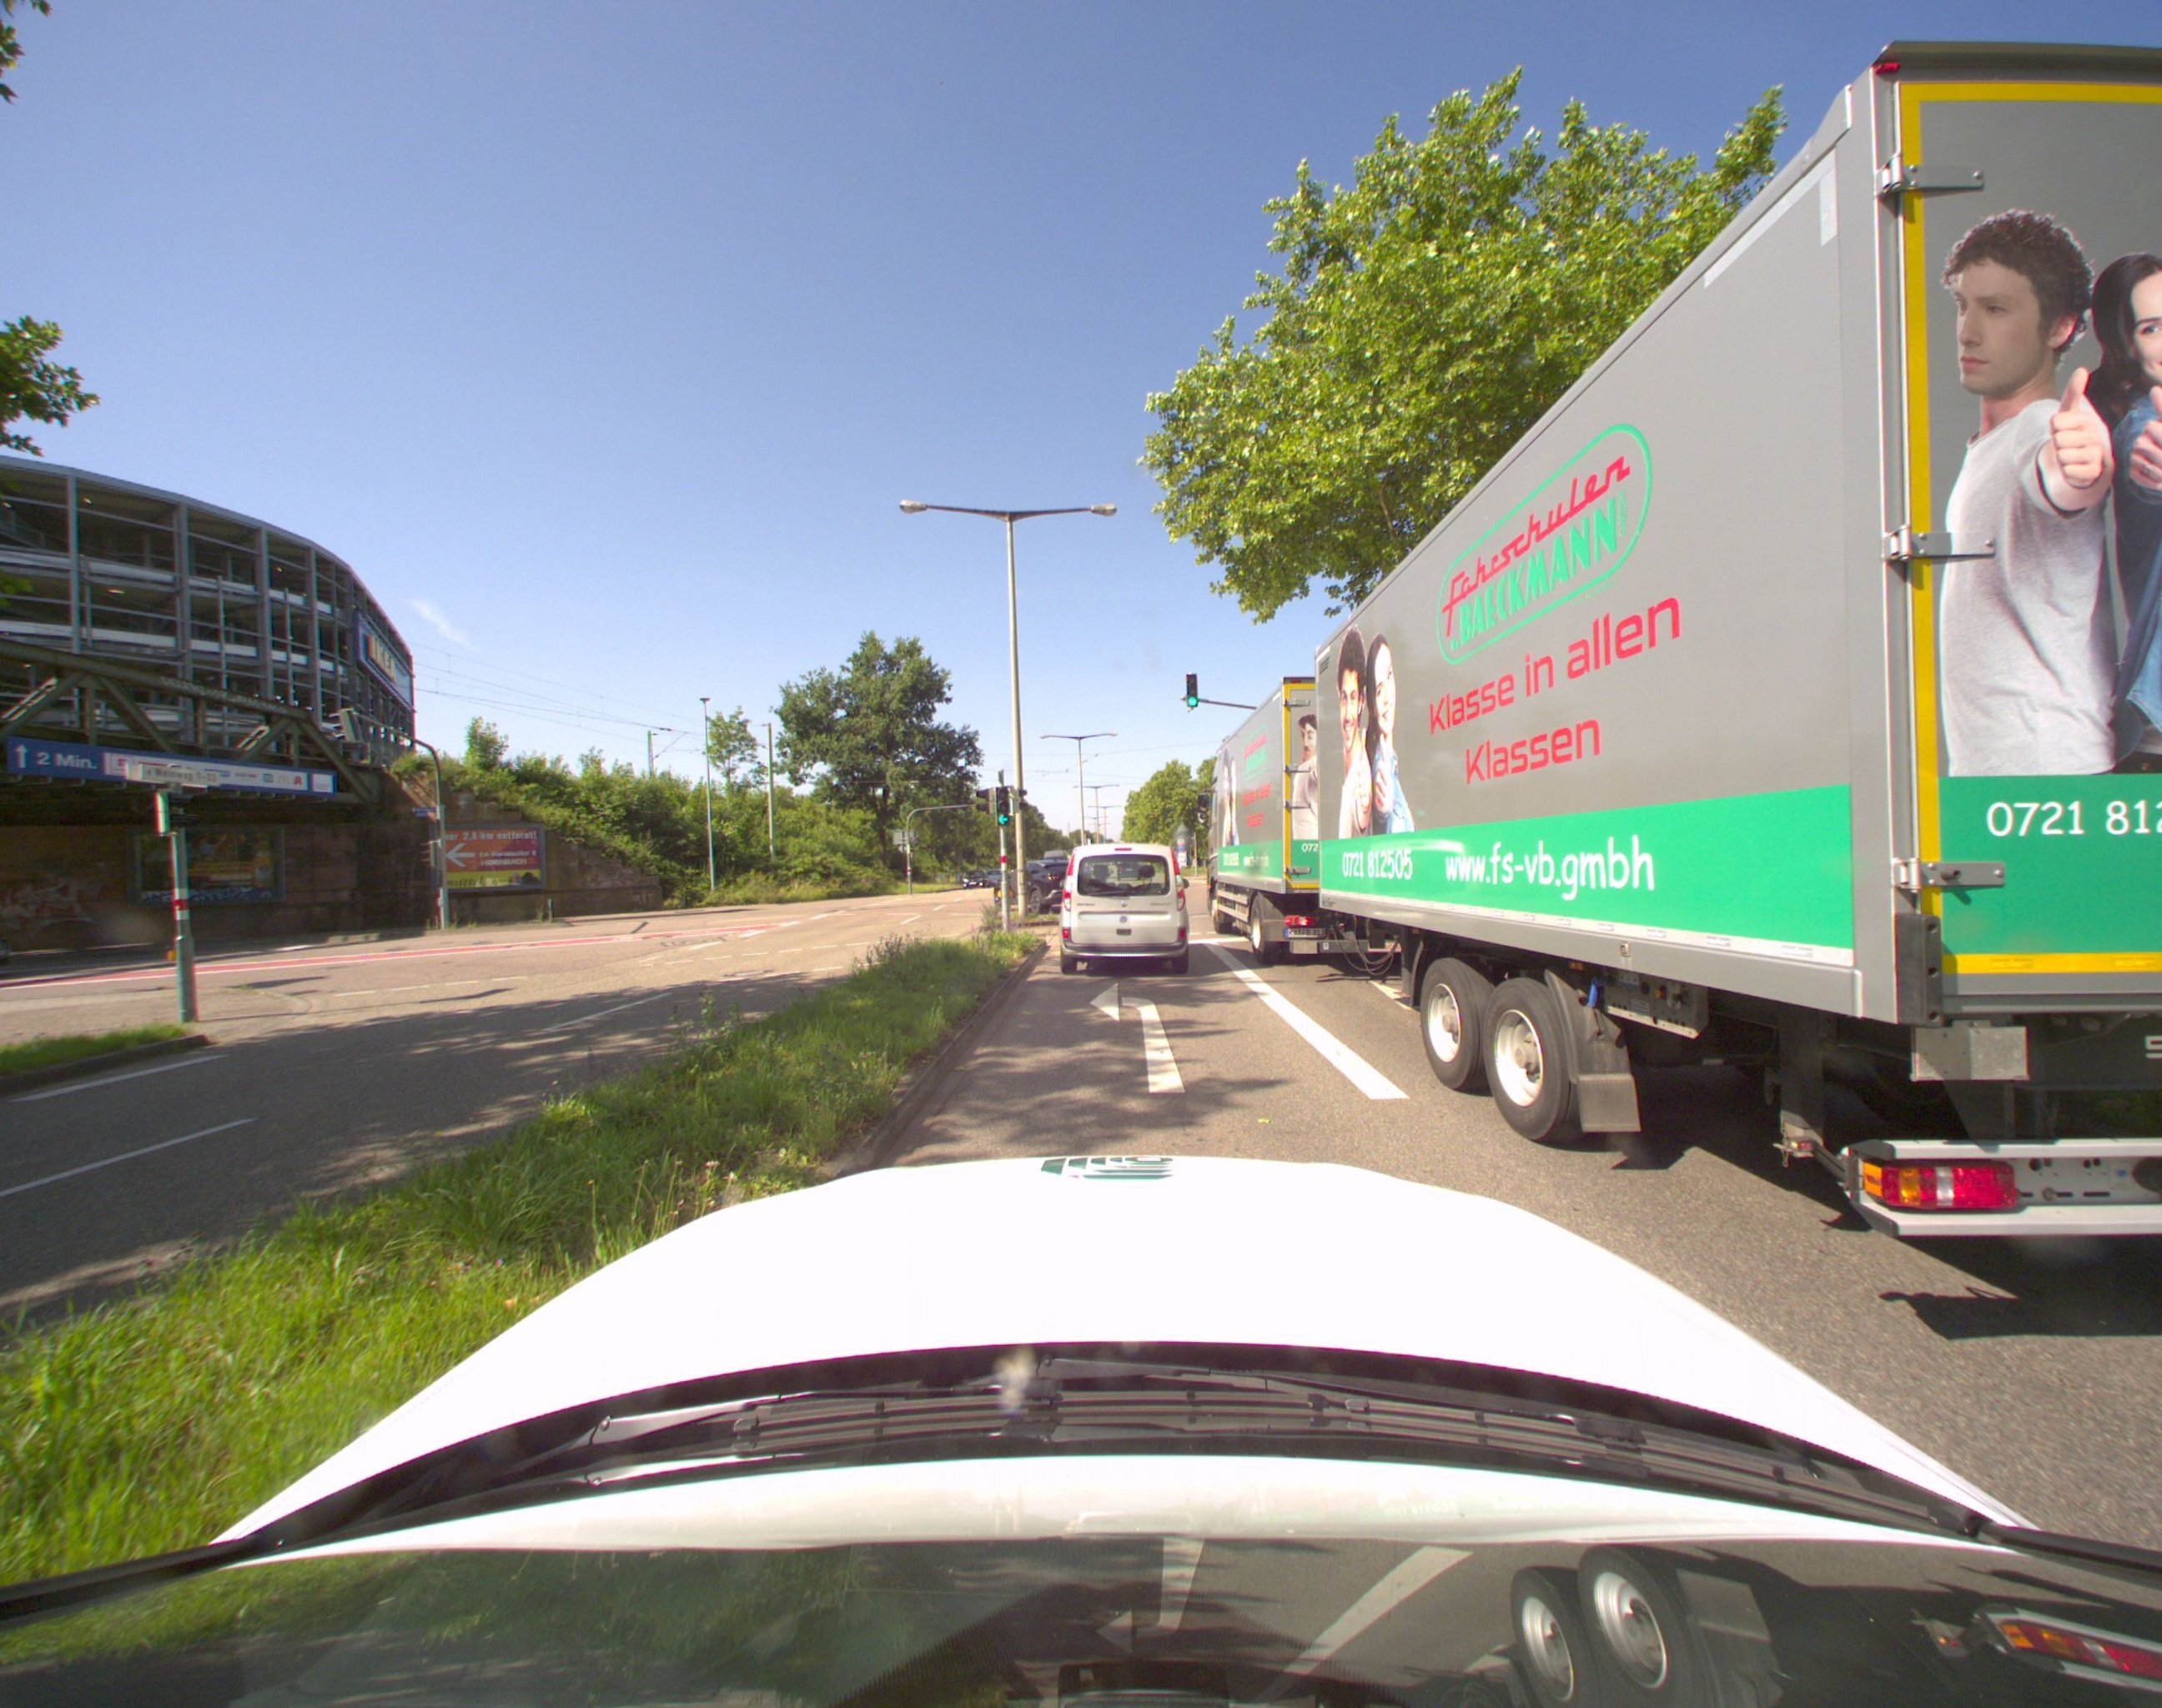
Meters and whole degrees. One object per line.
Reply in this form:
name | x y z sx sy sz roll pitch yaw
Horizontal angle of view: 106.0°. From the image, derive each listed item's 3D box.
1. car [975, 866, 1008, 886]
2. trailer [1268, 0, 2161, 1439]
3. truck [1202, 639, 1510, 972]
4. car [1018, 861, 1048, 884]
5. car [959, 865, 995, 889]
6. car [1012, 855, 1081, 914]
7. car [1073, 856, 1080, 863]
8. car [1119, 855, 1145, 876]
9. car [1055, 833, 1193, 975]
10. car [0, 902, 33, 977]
car | -7.504 1.812 68.697 1.985 1.540 4.240 -3 -1 4
trailer | 3.489 -0.493 5.855 2.725 3.877 7.740 -2 -1 3
truck | 3.915 -0.506 14.084 2.718 3.890 8.729 -2 -1 3
car | -4.181 1.579 71.330 1.985 1.870 4.778 -3 -1 4
car | -7.784 1.718 61.400 1.903 1.641 3.740 -3 -1 3
car | -1.019 0.897 26.227 1.924 1.662 4.229 -3 0 1
car | -1.370 1.713 251.293 1.880 2.014 4.003 0 -1 3
car | 4.084 0.938 64.520 1.985 1.585 4.460 0 -1 4
car | 0.589 0.679 12.550 1.780 1.838 4.000 0 -1 1
car | -26.288 2.050 17.578 4.016 1.646 1.885 -4 1 -33
